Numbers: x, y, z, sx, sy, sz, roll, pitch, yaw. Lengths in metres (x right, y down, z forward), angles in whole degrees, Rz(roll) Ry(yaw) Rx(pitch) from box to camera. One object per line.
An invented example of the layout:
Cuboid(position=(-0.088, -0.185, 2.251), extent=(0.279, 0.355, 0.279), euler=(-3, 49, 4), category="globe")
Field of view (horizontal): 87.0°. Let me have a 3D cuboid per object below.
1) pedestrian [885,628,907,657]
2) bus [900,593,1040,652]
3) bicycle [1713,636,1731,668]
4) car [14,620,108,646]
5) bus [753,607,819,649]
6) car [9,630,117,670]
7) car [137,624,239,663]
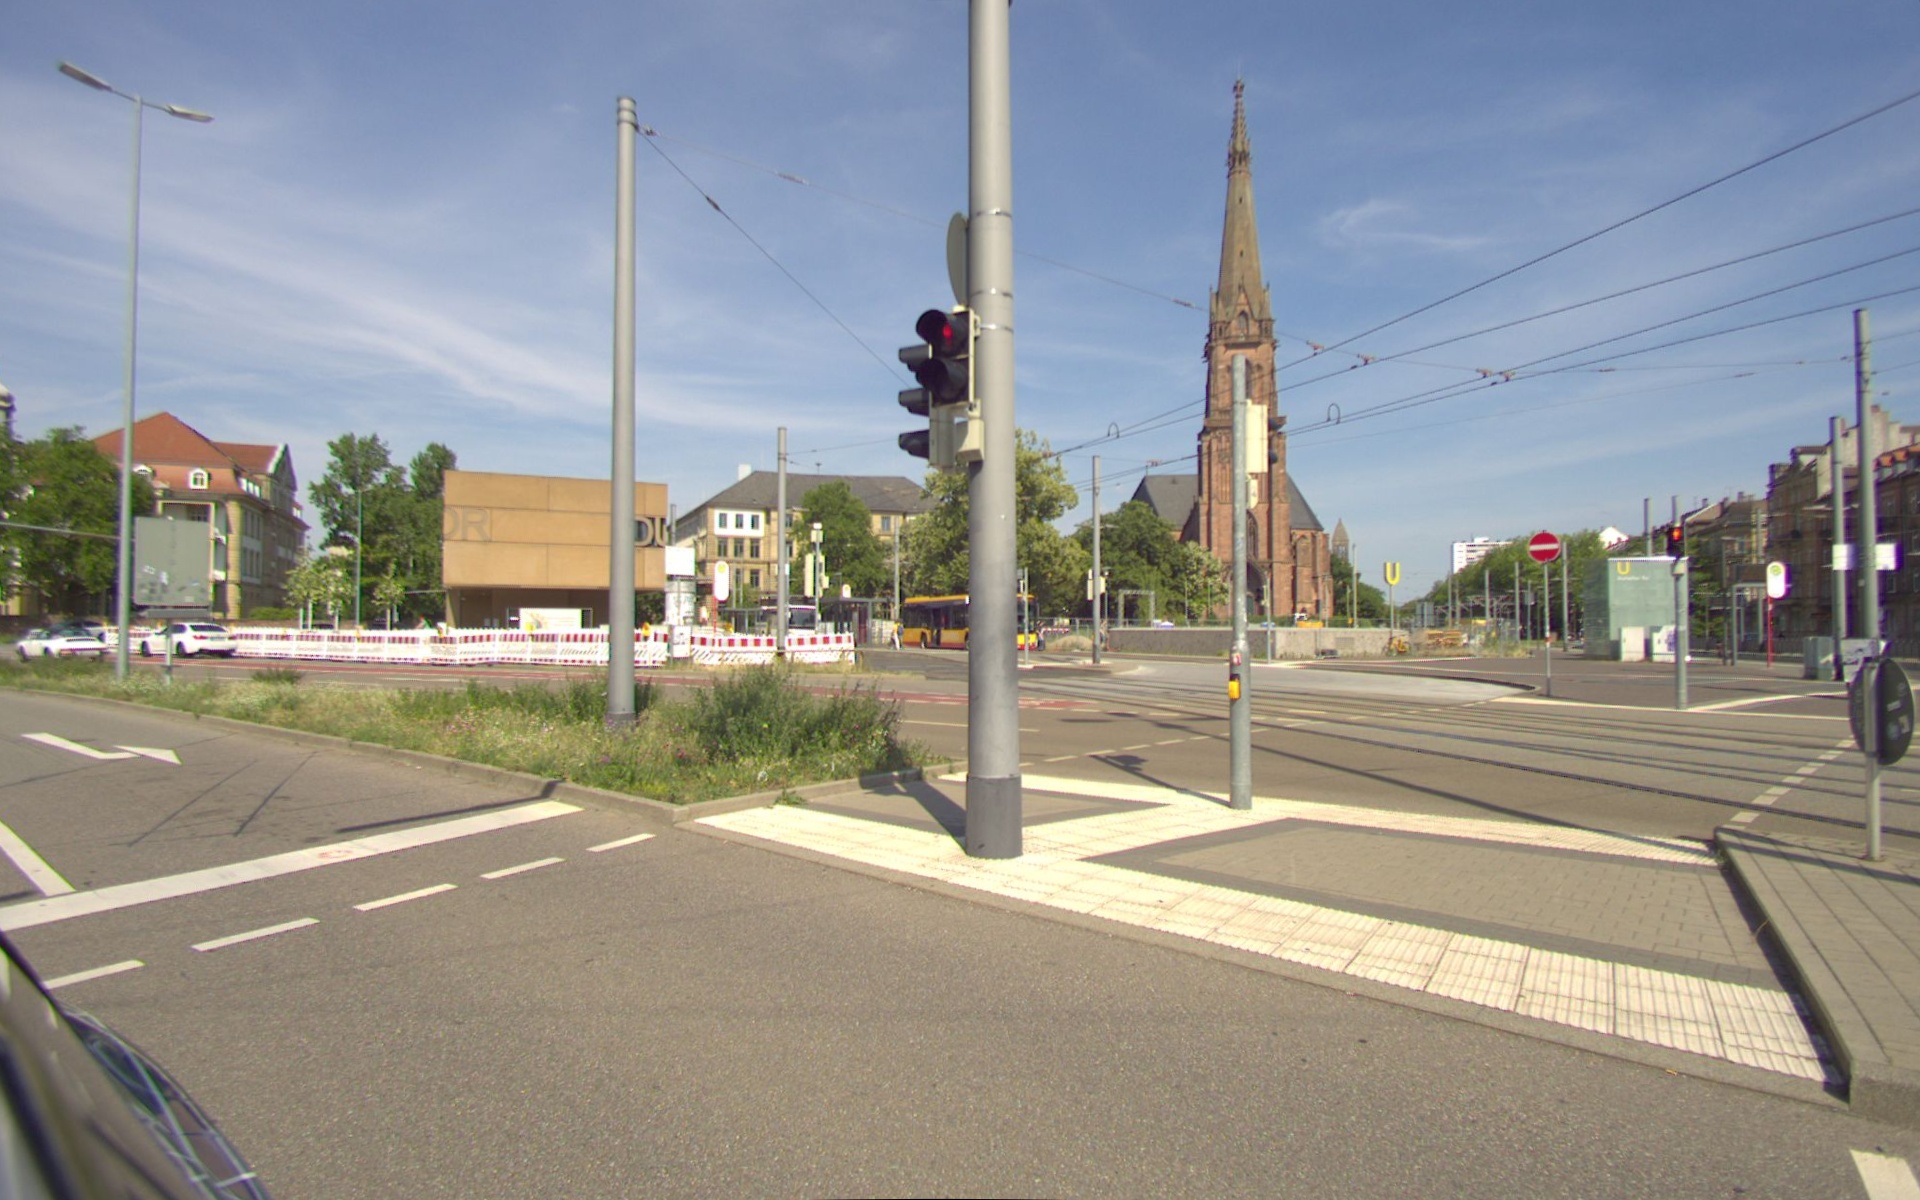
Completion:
Cuboid(position=(-3.127, 2.063, 49.348), extent=(0.911, 1.377, 0.532), euler=(-1, 0, 39), category="pedestrian")
Cuboid(position=(0.188, 1.071, 53.578), extent=(2.710, 2.703, 11.828), euler=(-1, 0, -24), category="bus")
Cuboid(position=(27.854, 1.901, 36.974), extent=(0.413, 1.079, 1.642), euler=(-2, -1, 40), category="bicycle")
Cuboid(position=(-54.996, 1.991, 62.005), extent=(1.742, 1.454, 4.096), euler=(-1, 0, 13), category="car")
Cuboid(position=(-15.049, 2.422, 86.555), extent=(2.710, 3.348, 11.827), euler=(1, -2, -24), category="bus")
Cuboid(position=(-32.000, 1.754, 36.085), extent=(3.981, 1.296, 1.584), euler=(-1, 0, 28), category="car")
Cuboid(position=(-31.171, 1.721, 40.869), extent=(3.981, 1.431, 1.787), euler=(-1, 0, 28), category="car")
